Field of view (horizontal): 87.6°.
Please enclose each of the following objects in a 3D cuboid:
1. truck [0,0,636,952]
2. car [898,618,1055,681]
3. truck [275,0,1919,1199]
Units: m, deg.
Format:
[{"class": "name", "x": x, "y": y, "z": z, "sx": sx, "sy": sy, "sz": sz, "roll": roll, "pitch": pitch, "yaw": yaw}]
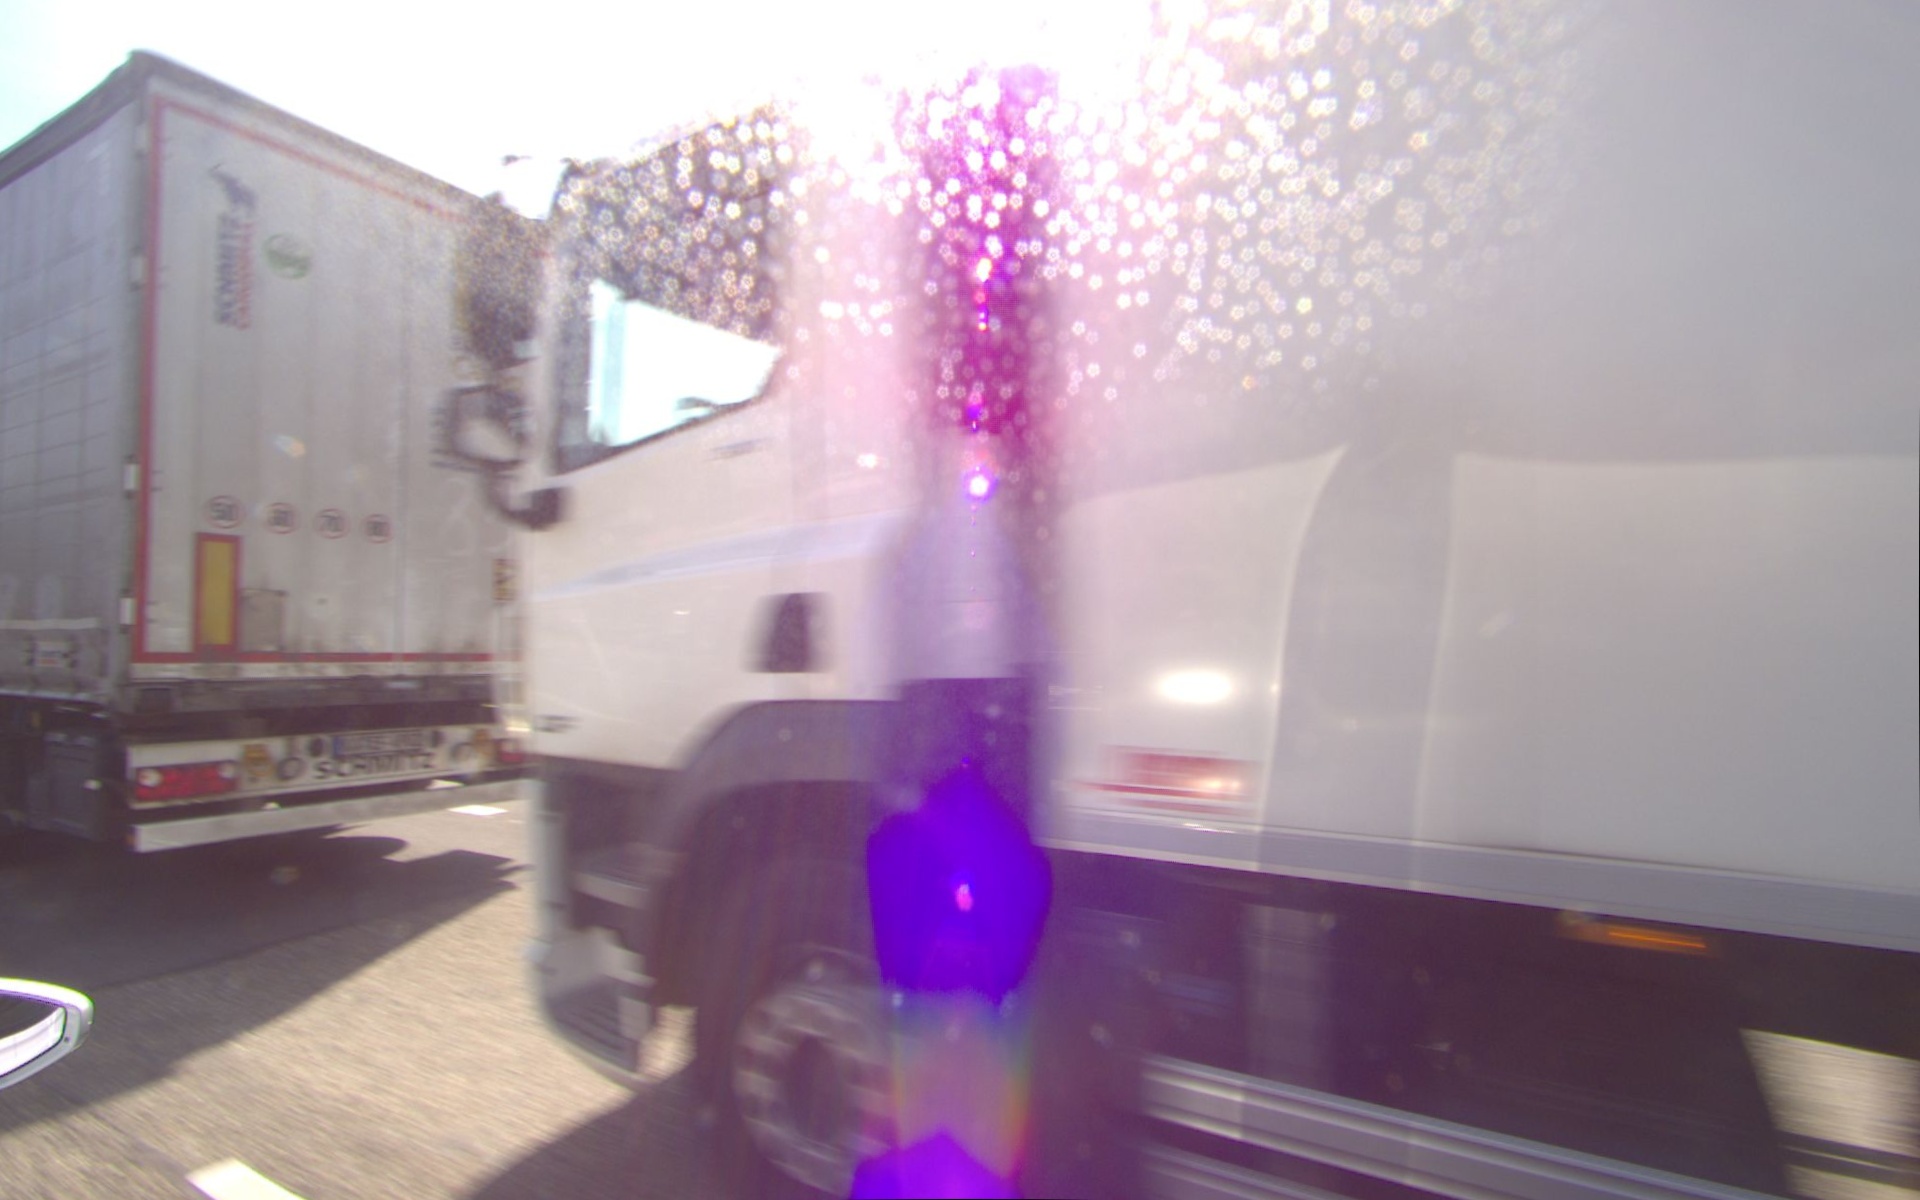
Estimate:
[{"class": "truck", "x": -9.998, "y": -0.492, "z": 9.882, "sx": 16.465, "sy": 4.320, "sz": 2.886, "roll": -1, "pitch": -2, "yaw": 31}, {"class": "car", "x": 0.381, "y": 1.162, "z": 24.307, "sx": 3.544, "sy": 1.427, "sz": 1.555, "roll": -1, "pitch": -1, "yaw": 32}, {"class": "truck", "x": 3.409, "y": -0.377, "z": 1.236, "sx": 10.982, "sy": 3.859, "sz": 2.875, "roll": -1, "pitch": -2, "yaw": 32}]
